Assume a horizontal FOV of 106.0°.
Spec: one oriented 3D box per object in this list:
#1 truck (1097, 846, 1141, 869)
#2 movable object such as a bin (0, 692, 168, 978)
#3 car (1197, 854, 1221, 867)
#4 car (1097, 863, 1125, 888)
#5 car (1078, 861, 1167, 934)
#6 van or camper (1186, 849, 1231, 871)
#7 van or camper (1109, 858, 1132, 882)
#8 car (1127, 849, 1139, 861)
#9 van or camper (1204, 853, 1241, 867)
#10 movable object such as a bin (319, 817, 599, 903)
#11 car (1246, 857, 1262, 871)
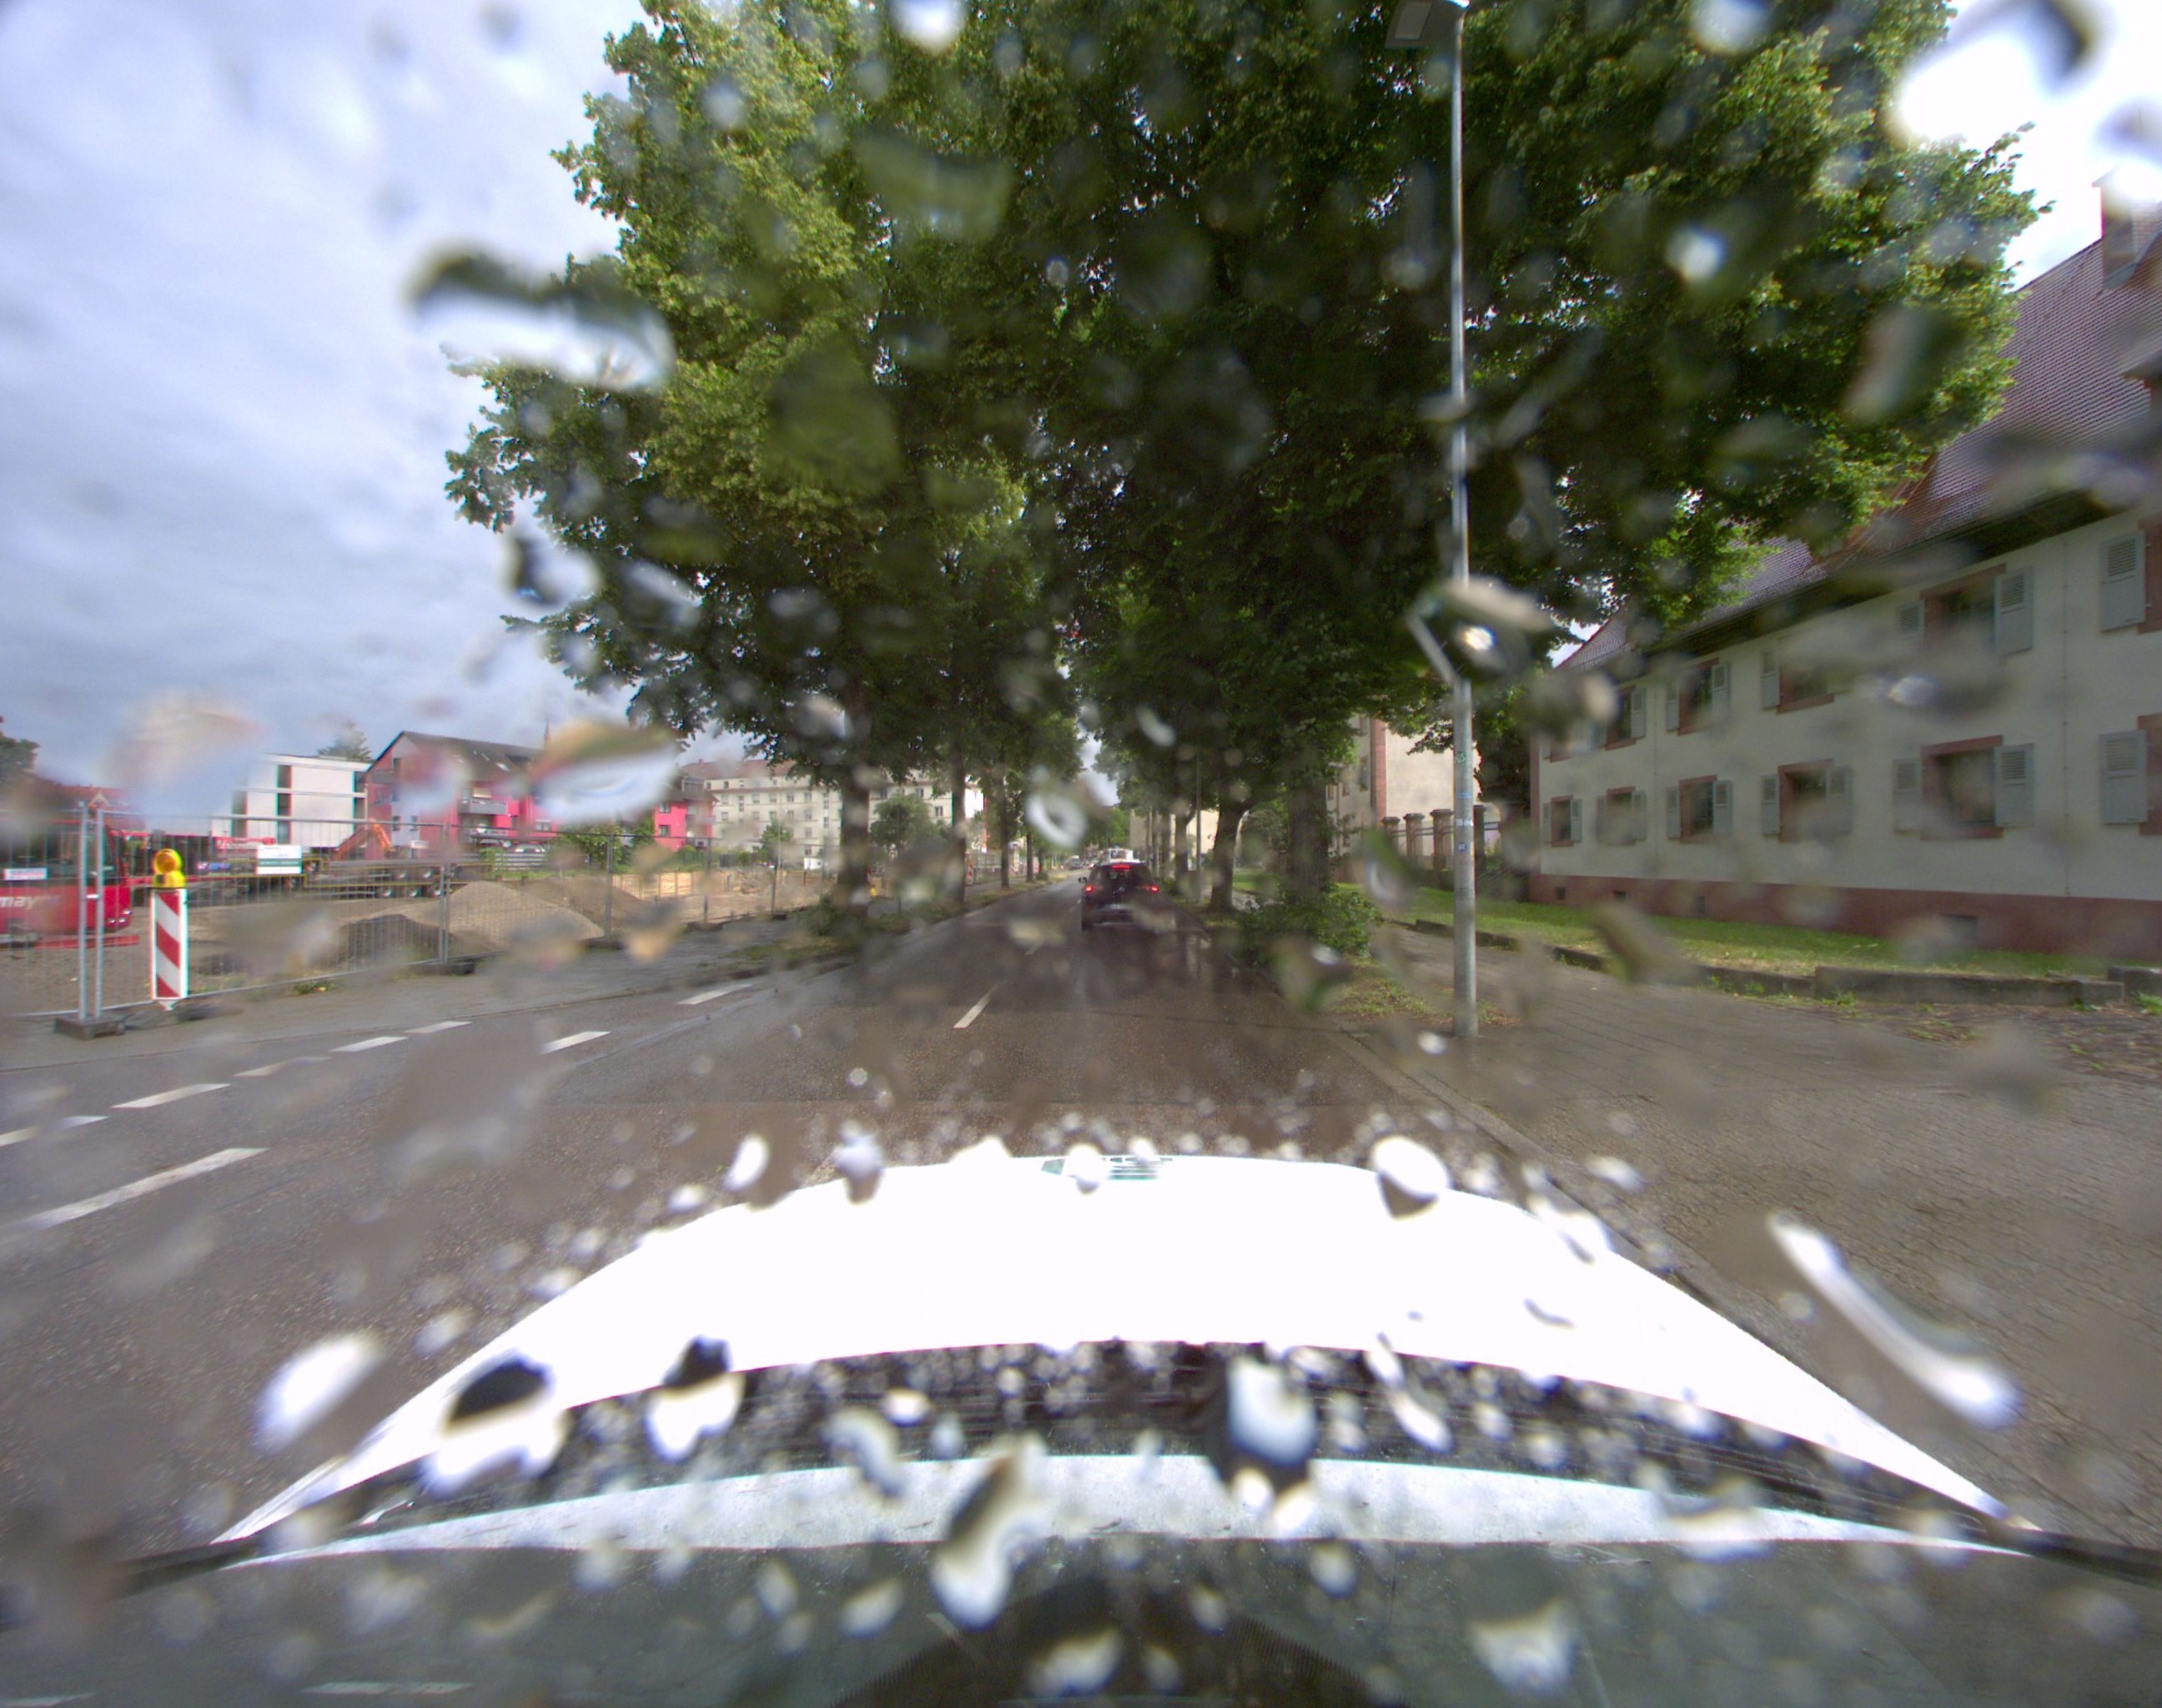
[{"bbox_3d":[4.337,0.342,95.476,2.810,2.656,8.198,0,1,-15],"label":"truck"},{"bbox_3d":[-20.400,-0.293,12.362,9.767,4.115,3.370,0,0,4],"label":"movable object such as a bin"},{"bbox_3d":[19.511,0.986,124.254,3.385,1.781,1.765,-3,-1,11],"label":"car"},{"bbox_3d":[2.199,1.525,58.294,1.671,1.708,3.915,-3,-1,5],"label":"car"},{"bbox_3d":[0.967,0.932,19.194,1.887,1.522,4.002,0,0,2],"label":"car"},{"bbox_3d":[15.128,0.713,96.952,5.014,2.596,2.168,-1,-1,1],"label":"van or camper"},{"bbox_3d":[3.343,1.299,68.763,1.811,1.948,4.199,1,0,4],"label":"van or camper"},{"bbox_3d":[9.126,0.222,142.862,1.985,2.014,4.003,1,-1,3],"label":"car"},{"bbox_3d":[19.808,0.855,114.169,4.854,1.925,2.133,0,0,3],"label":"van or camper"},{"bbox_3d":[-49.658,0.336,66.357,6.805,6.044,16.844,0,1,26],"label":"movable object such as a bin"},{"bbox_3d":[23.337,1.363,109.970,1.732,1.684,3.879,-3,-1,9],"label":"car"}]
